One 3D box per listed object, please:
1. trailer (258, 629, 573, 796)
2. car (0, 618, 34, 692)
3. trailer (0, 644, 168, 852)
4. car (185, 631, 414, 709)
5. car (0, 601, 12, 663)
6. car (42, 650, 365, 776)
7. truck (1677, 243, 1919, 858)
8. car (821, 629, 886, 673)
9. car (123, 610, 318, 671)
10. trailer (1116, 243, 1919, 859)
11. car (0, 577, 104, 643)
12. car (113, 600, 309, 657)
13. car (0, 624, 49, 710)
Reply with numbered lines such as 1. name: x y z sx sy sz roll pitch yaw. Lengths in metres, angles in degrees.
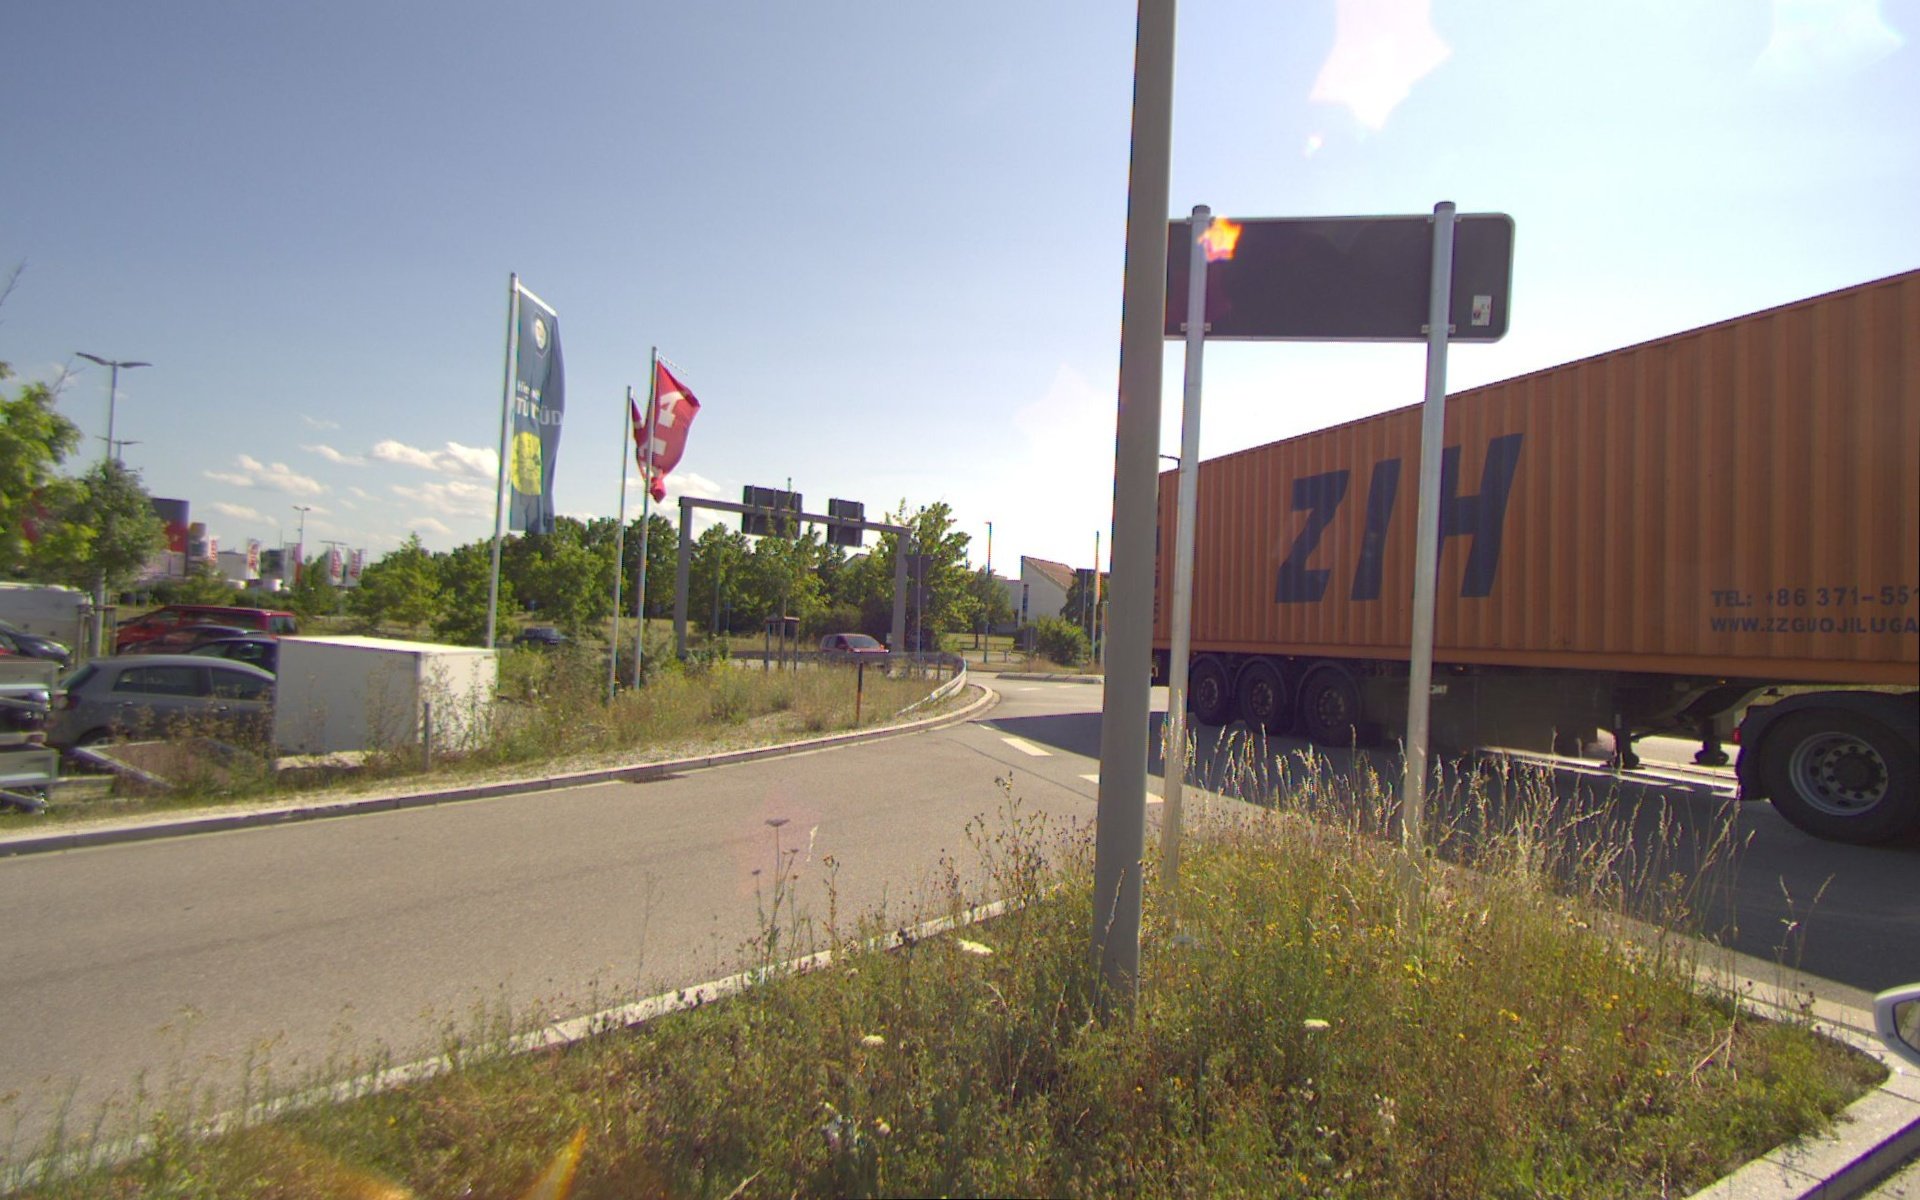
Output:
1. trailer: -7.548 1.449 13.998 3.624 1.795 1.808 4 1 19
2. car: -21.990 1.101 20.756 3.964 1.483 1.806 3 0 -37
3. trailer: -10.645 1.437 10.641 3.623 1.795 1.808 2 0 19
4. car: -15.187 1.596 23.293 3.926 1.483 1.824 4 -2 -6
5. car: -25.348 0.714 23.782 3.964 1.483 1.806 3 0 -37
6. car: -11.329 1.605 15.250 3.713 1.572 1.724 3 0 -40
7. truck: 8.388 -0.291 5.802 2.627 4.161 6.394 2 -1 -25
8. car: -4.093 1.920 38.239 1.455 1.414 3.688 2 0 -23
9. car: -20.493 1.101 27.980 3.925 1.483 1.823 3 0 -6
10. trailer: 5.994 -0.269 12.308 2.522 4.208 12.308 2 -1 -19
11. car: -30.640 0.311 32.596 4.316 2.040 1.881 3 0 -41
12. car: -22.551 0.852 30.411 4.372 1.483 1.823 3 0 -6
13. car: -18.153 1.121 17.014 3.971 1.483 1.803 3 -3 -42
